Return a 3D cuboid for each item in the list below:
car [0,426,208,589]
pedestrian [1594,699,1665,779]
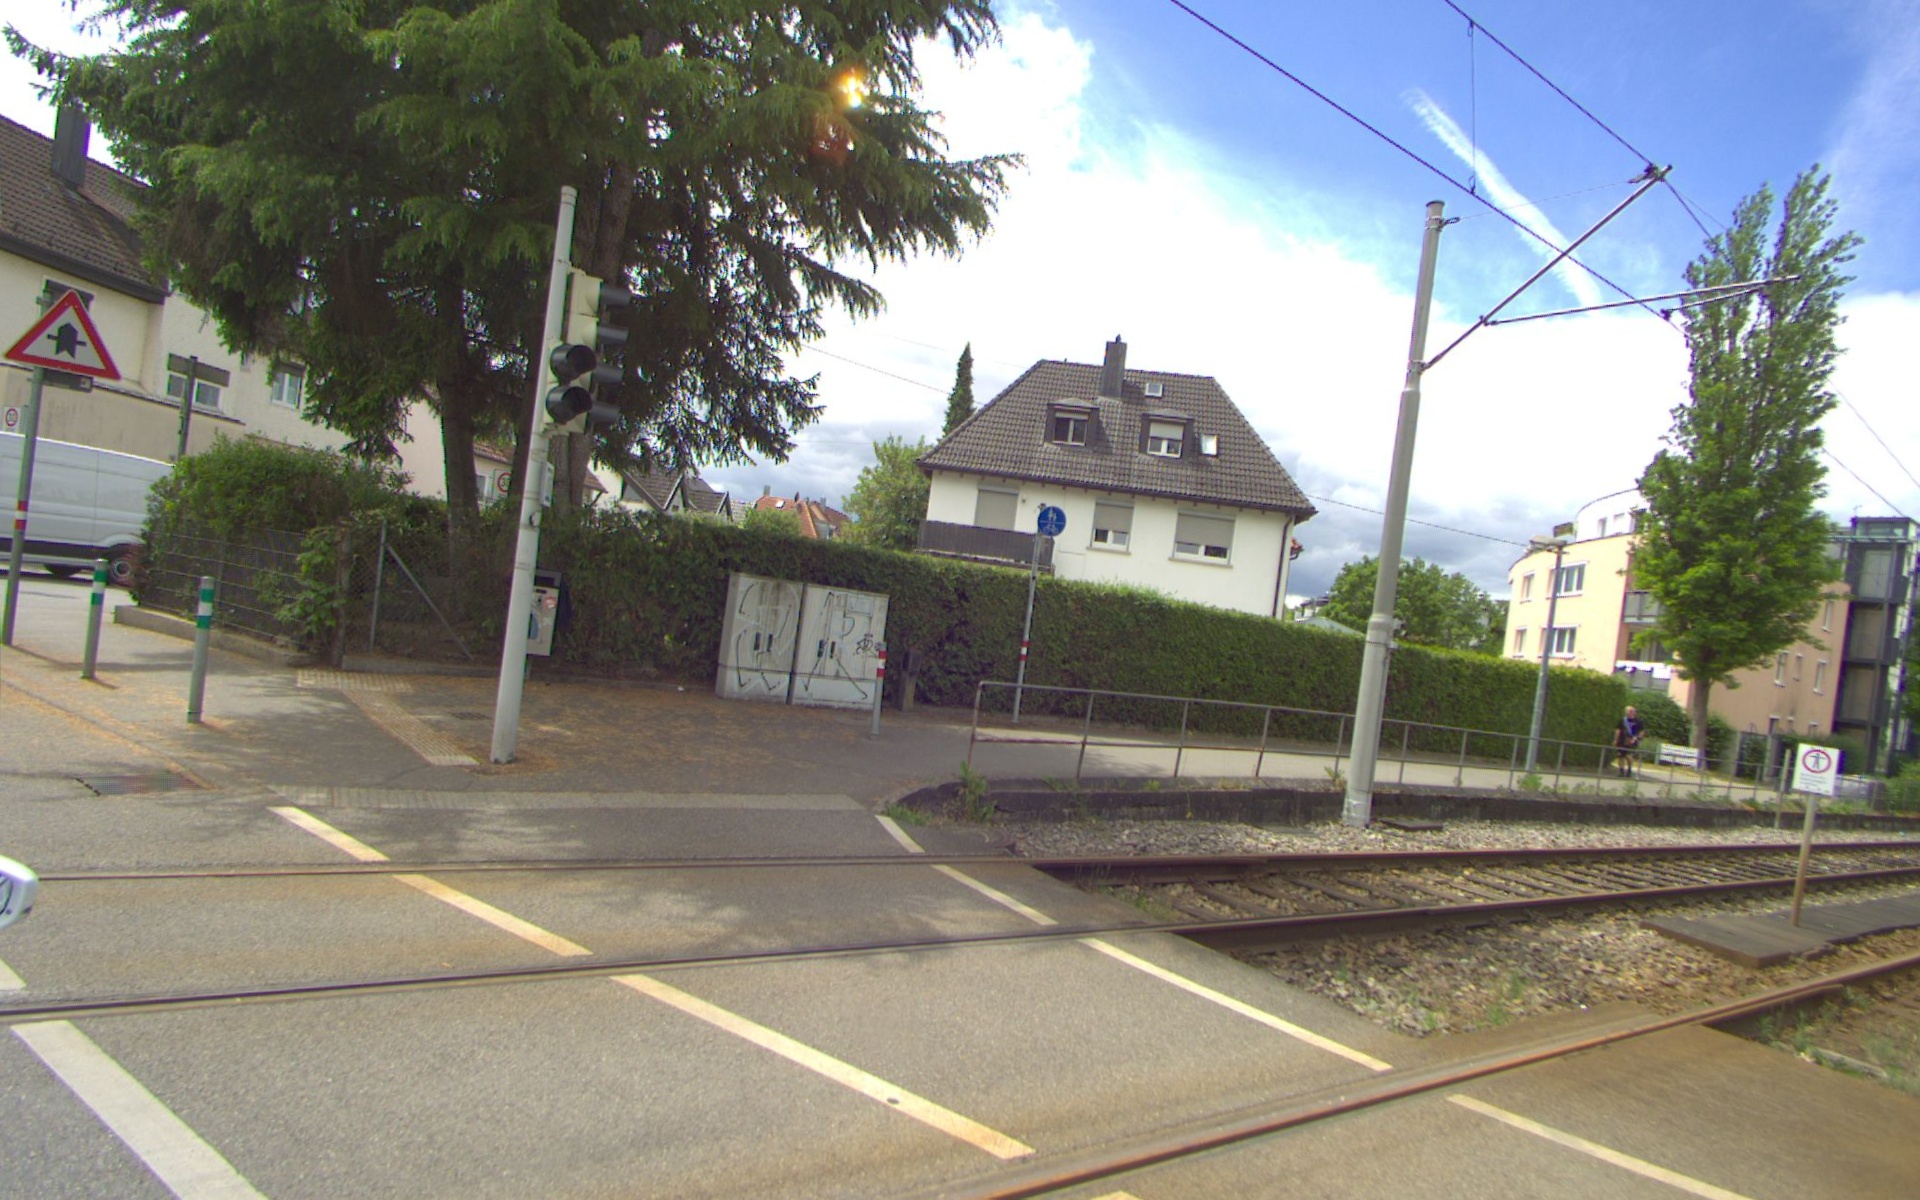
[{"bbox_3d":[-17.626,-1.835,18.317,1.963,2.612,6.017,8,-1,20],"label":"car"},{"bbox_3d":[15.723,3.260,23.646,0.910,1.707,0.925,7,0,-31],"label":"pedestrian"}]
